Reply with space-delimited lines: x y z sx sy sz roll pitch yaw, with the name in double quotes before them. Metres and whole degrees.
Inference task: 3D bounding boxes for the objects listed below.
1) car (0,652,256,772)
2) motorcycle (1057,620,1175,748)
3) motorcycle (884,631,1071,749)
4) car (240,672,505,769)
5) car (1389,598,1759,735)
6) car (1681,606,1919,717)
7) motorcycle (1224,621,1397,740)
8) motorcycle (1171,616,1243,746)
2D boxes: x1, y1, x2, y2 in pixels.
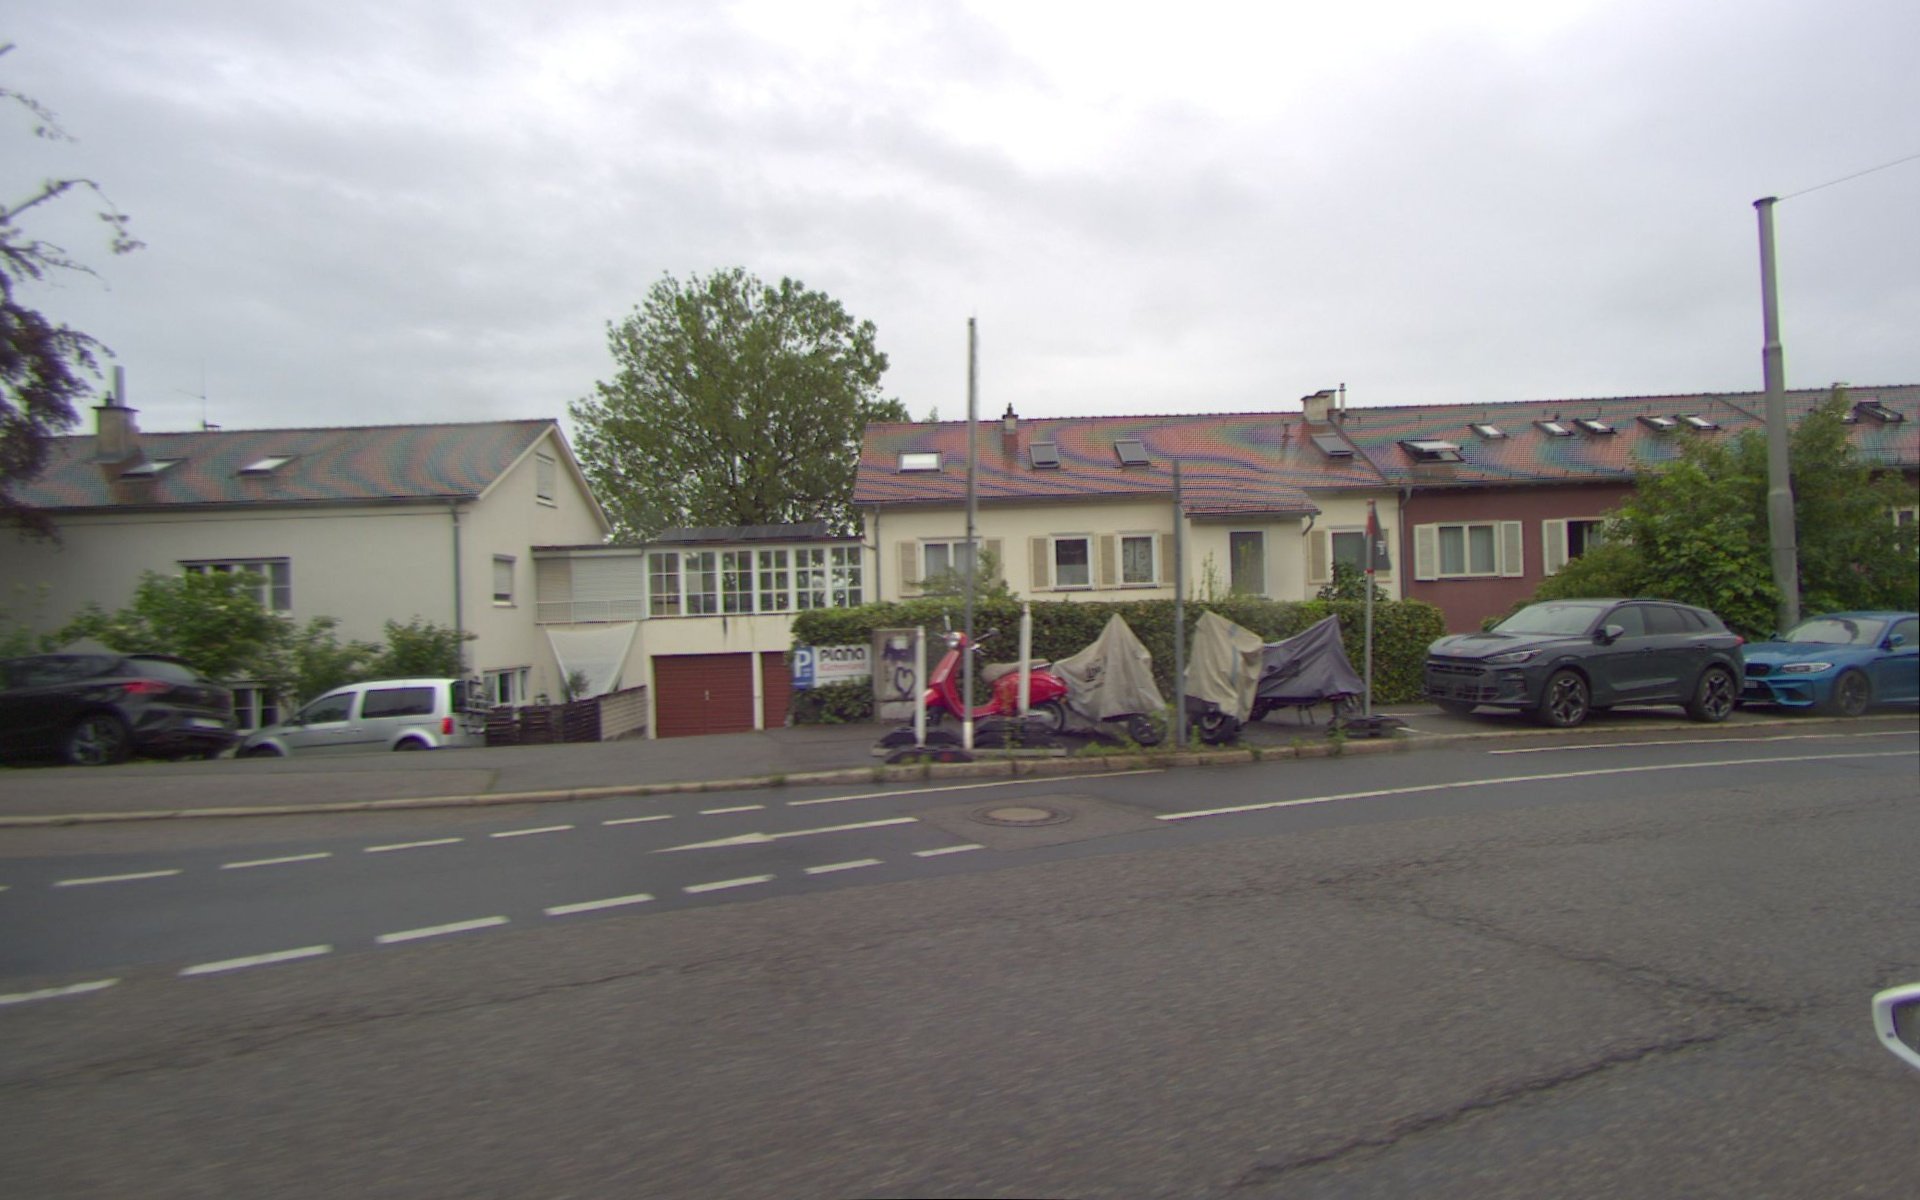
"car" -10.841 1.319 12.114 3.494 1.344 1.555 0 -4 -4
"motorcycle" 1.705 0.884 11.260 0.503 1.296 1.799 0 0 -20
"motorcycle" 0.182 0.923 10.564 1.889 1.154 0.510 0 -3 -14
"car" -11.028 2.254 19.093 3.866 1.662 1.788 2 -4 -3
"car" 8.170 0.785 13.425 4.319 1.598 1.919 0 1 -19
"car" 13.088 0.828 14.719 4.397 1.424 1.699 0 1 -15
"motorcycle" 4.181 0.918 12.079 1.877 1.288 0.573 1 1 39
"motorcycle" 2.795 0.870 11.493 0.601 1.321 1.808 0 1 8
